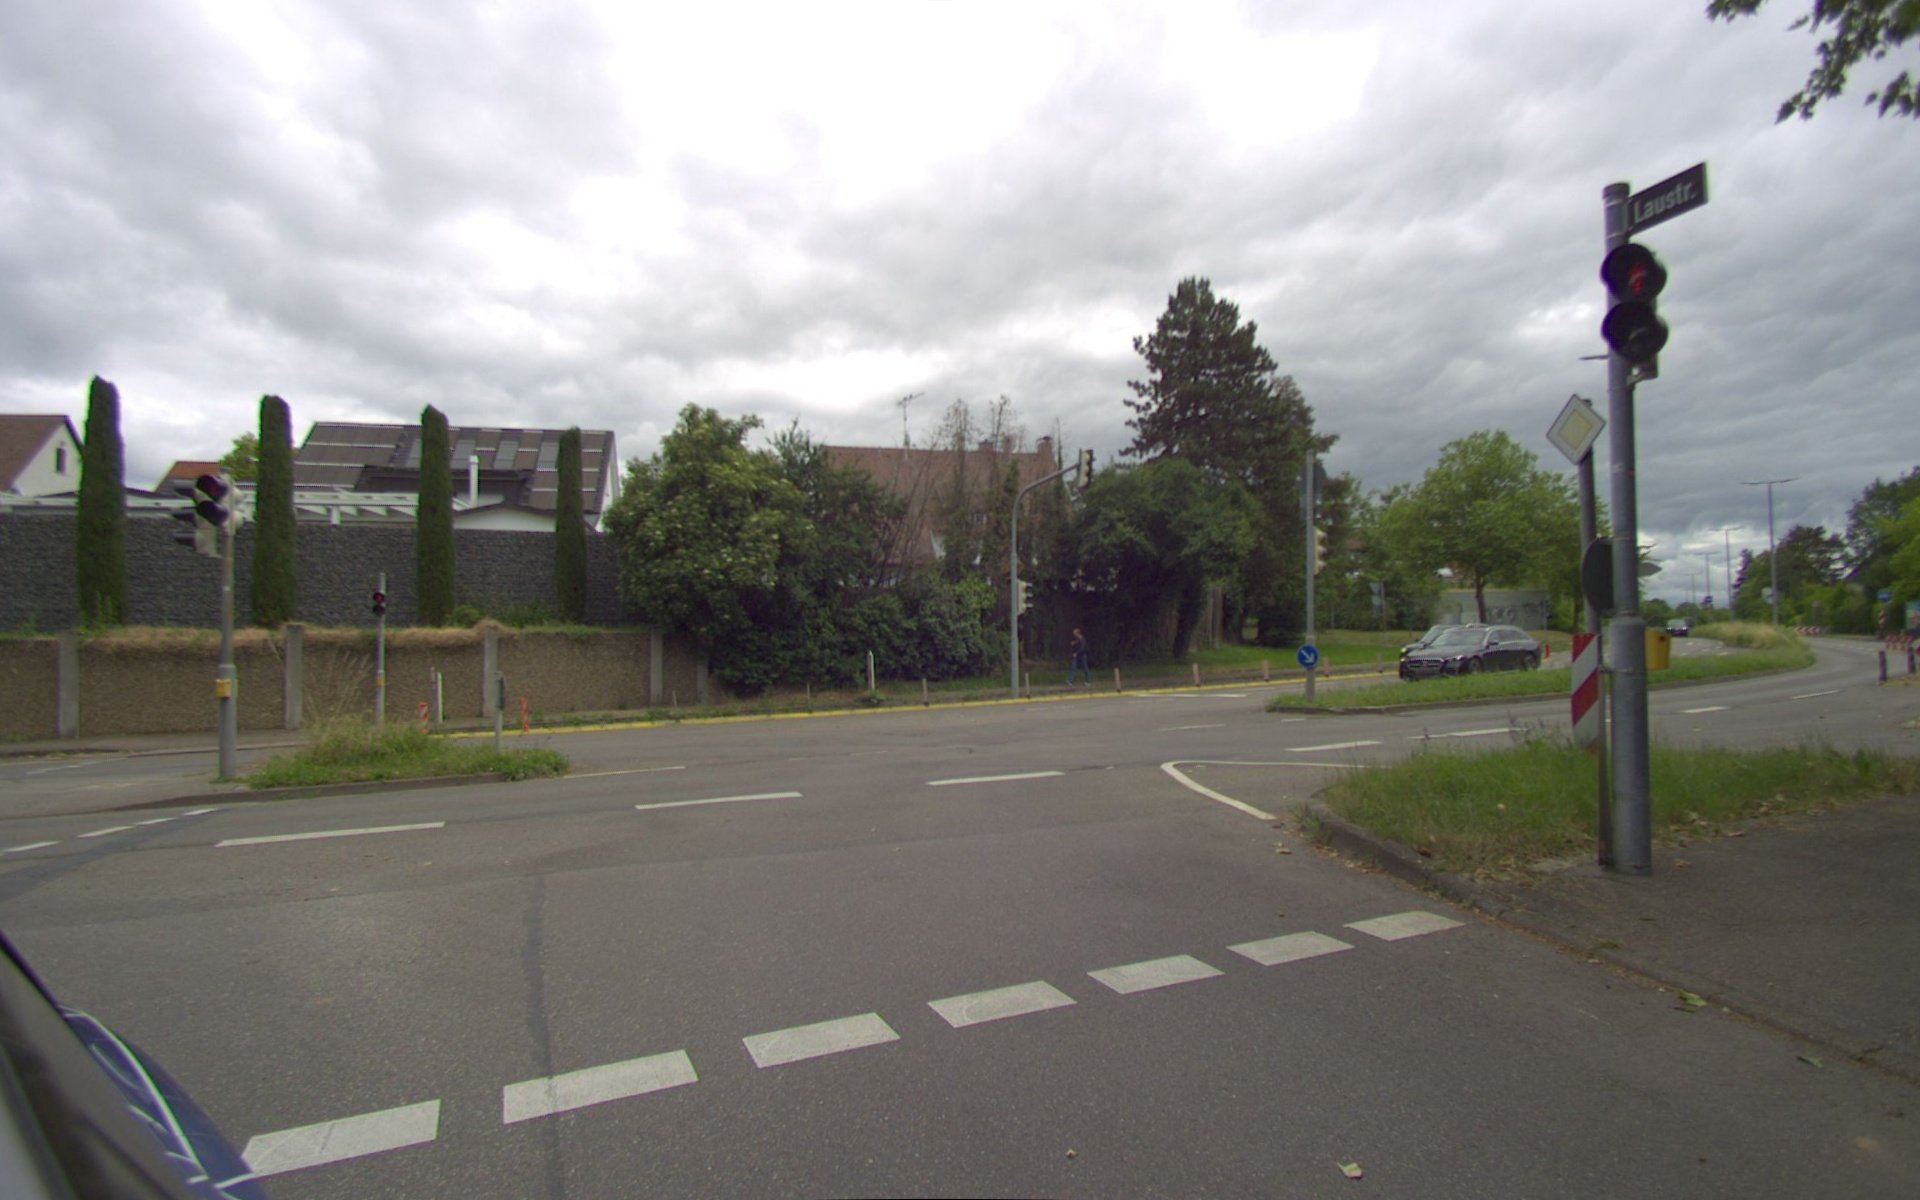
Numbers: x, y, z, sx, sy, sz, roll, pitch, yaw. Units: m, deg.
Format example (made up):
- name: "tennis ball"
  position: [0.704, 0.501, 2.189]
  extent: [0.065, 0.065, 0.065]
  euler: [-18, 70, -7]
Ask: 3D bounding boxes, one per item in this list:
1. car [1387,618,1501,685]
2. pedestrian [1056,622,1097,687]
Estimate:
- name: "car"
  position: [13.216, 1.367, 27.530]
  extent: [1.843, 1.644, 4.206]
  euler: [-5, -4, 38]
- name: "pedestrian"
  position: [3.728, 1.749, 32.412]
  extent: [0.841, 2.029, 0.954]
  euler: [0, -3, -42]
